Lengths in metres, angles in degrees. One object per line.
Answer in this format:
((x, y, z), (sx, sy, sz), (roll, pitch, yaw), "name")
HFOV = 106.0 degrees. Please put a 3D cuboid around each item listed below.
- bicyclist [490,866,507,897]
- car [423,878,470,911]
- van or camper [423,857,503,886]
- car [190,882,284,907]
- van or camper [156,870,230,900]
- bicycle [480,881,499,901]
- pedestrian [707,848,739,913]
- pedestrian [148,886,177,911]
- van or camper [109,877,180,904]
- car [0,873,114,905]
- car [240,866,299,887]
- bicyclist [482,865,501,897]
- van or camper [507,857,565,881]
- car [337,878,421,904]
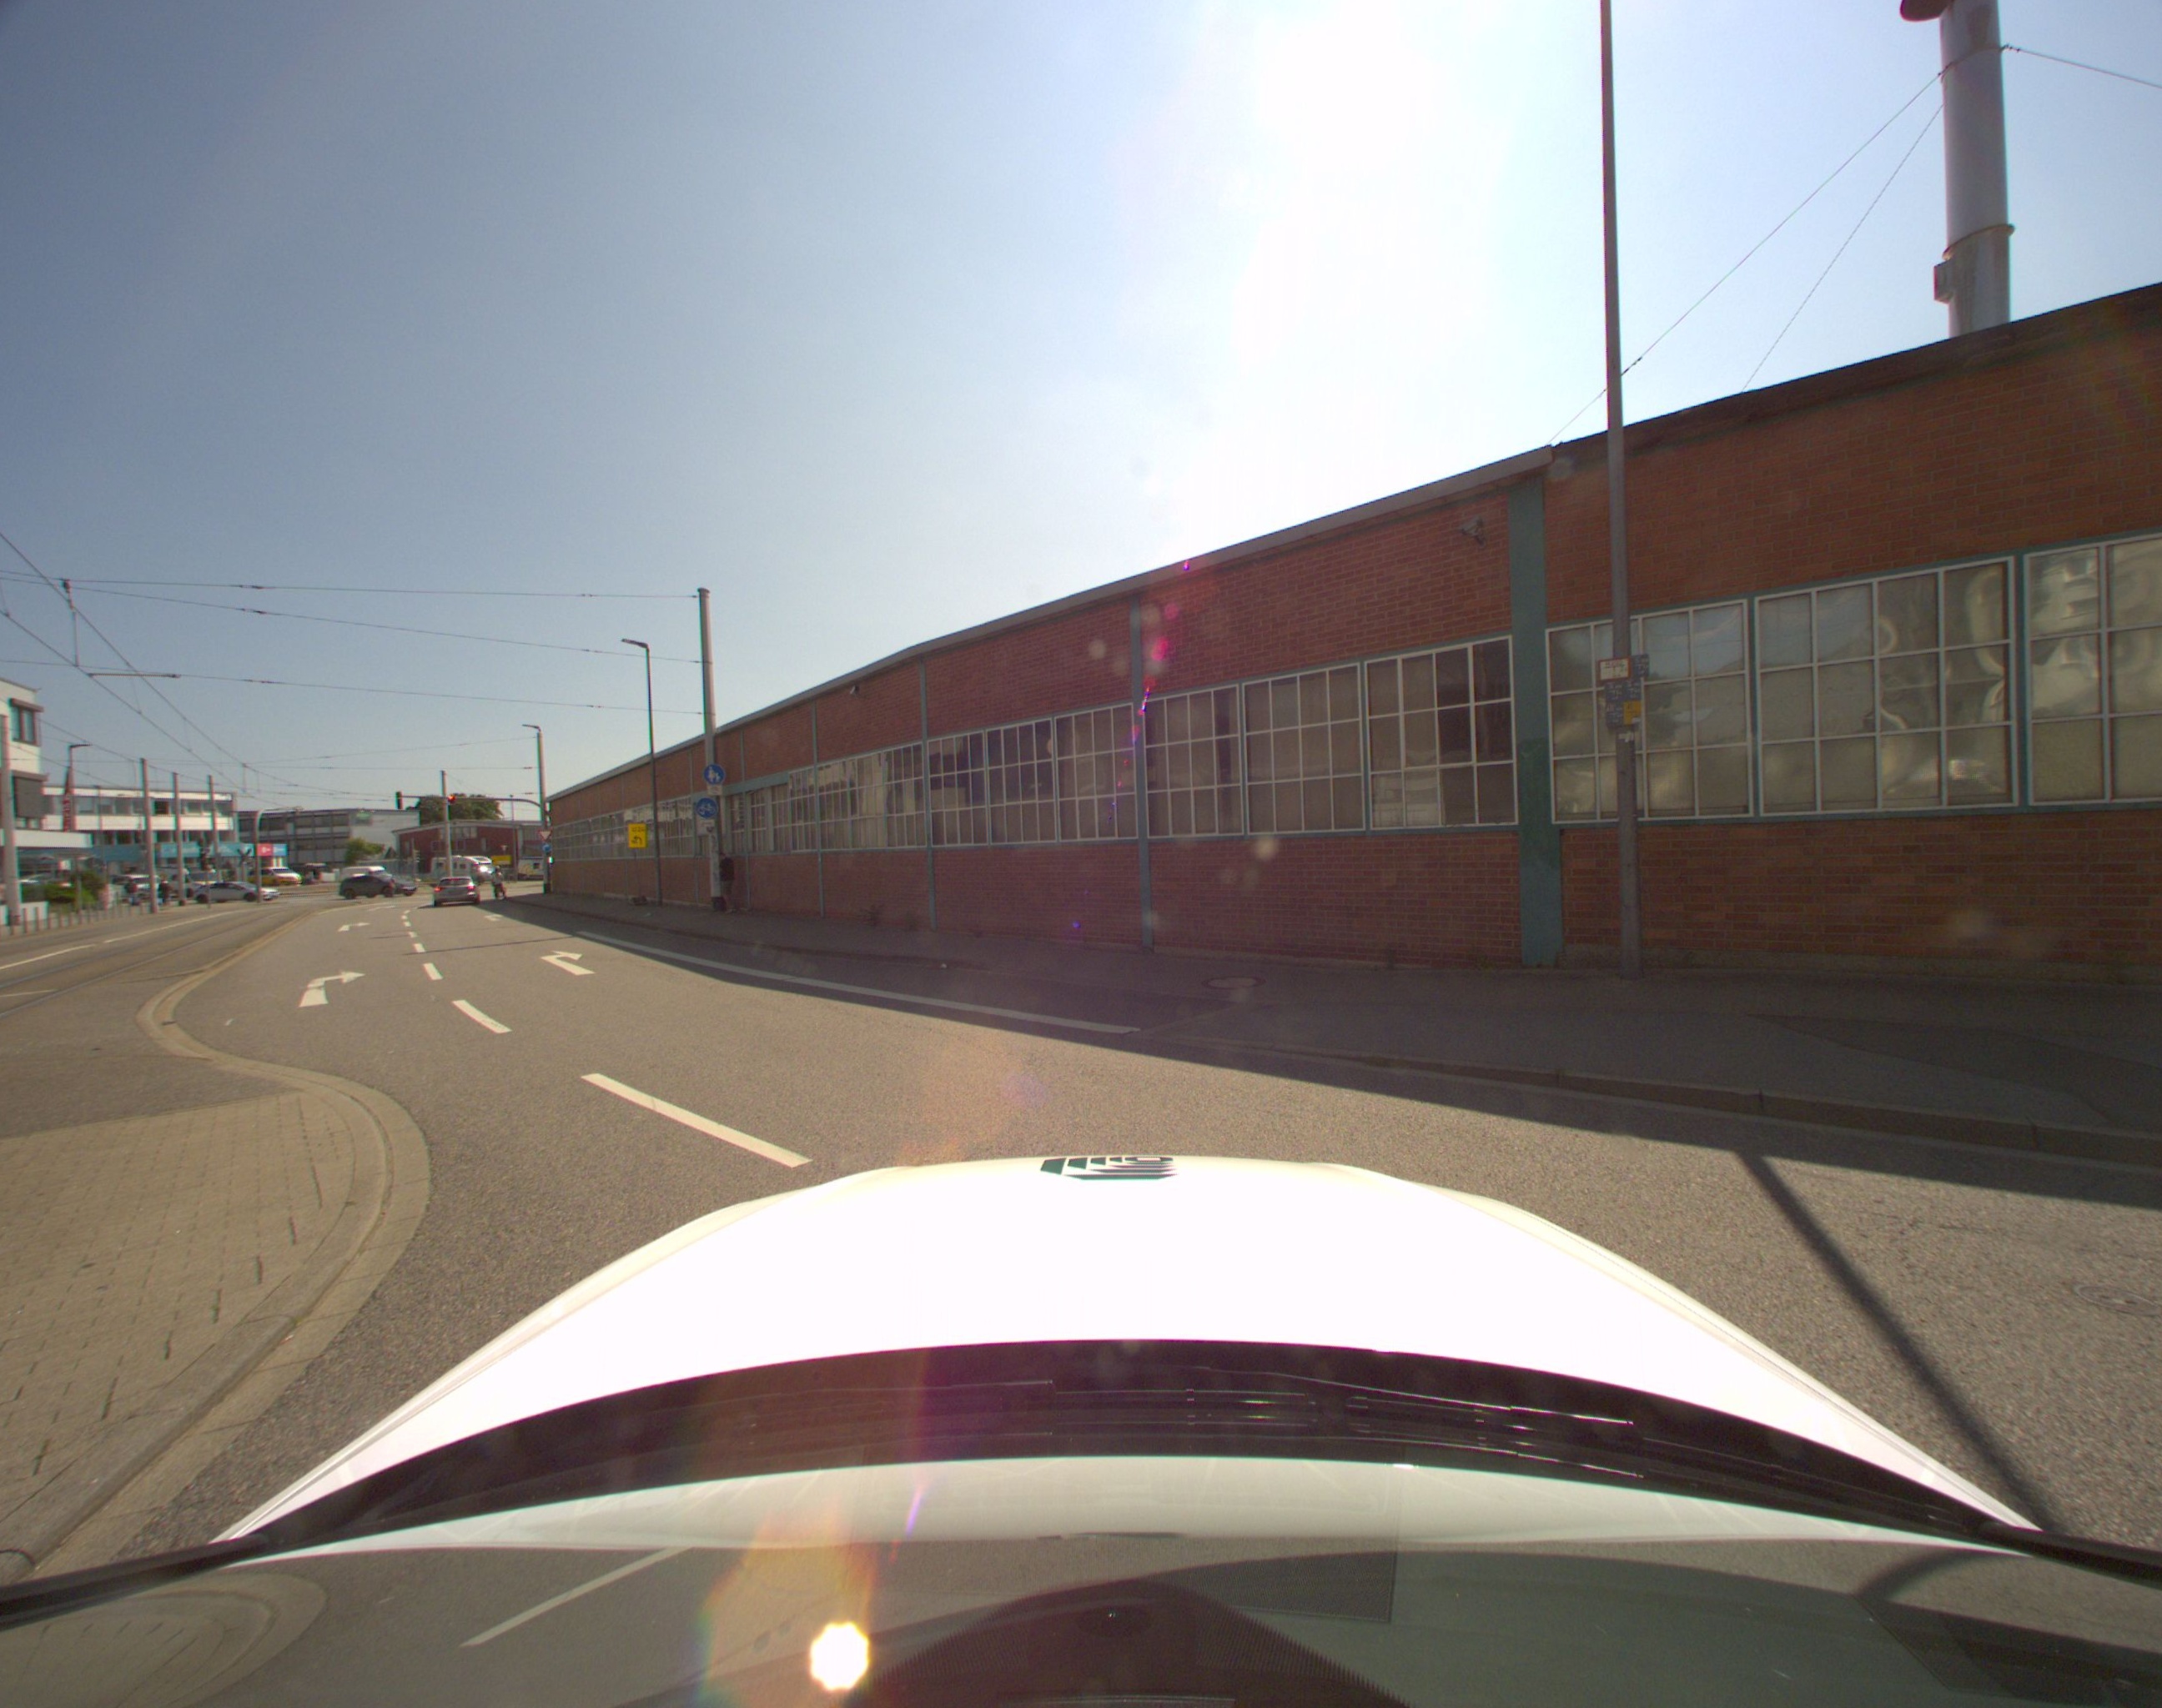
((-34.415, 1.610, 48.135), (0.713, 1.810, 0.972), (-3, 0, -38), "bicyclist")
((-32.292, 2.023, 41.526), (1.760, 1.459, 3.955), (-3, 1, -37), "car")
((-64.848, 1.828, 85.500), (6.925, 2.930, 2.359), (-1, 2, 7), "van or camper")
((-59.508, 2.828, 57.477), (4.200, 1.374, 1.793), (-3, 1, -16), "car")
((-75.467, 2.602, 69.224), (5.745, 2.296, 2.048), (0, 2, 19), "van or camper")
((-33.702, 2.097, 46.386), (0.800, 1.021, 2.127), (-2, 1, -37), "bicycle")
((-9.993, 0.727, 22.736), (0.690, 1.764, 0.444), (-3, 3, -40), "pedestrian")
((-58.656, 2.835, 52.020), (0.827, 1.454, 1.141), (-2, 1, 40), "pedestrian")
((-76.518, 2.946, 66.547), (4.952, 2.013, 2.010), (0, 2, 19), "van or camper")
((-59.385, 1.976, 47.121), (4.019, 1.518, 1.978), (-3, 3, -38), "car")
((-81.858, 2.266, 82.170), (5.066, 1.759, 1.953), (-2, 1, 16), "car")
((-33.568, 1.533, 46.348), (0.792, 1.721, 1.134), (-3, 0, -37), "bicyclist")
((-60.773, 1.656, 90.904), (5.331, 2.439, 2.298), (1, 3, 13), "van or camper")
((-49.431, 2.590, 57.455), (3.996, 1.508, 1.869), (-3, 1, -17), "car")
